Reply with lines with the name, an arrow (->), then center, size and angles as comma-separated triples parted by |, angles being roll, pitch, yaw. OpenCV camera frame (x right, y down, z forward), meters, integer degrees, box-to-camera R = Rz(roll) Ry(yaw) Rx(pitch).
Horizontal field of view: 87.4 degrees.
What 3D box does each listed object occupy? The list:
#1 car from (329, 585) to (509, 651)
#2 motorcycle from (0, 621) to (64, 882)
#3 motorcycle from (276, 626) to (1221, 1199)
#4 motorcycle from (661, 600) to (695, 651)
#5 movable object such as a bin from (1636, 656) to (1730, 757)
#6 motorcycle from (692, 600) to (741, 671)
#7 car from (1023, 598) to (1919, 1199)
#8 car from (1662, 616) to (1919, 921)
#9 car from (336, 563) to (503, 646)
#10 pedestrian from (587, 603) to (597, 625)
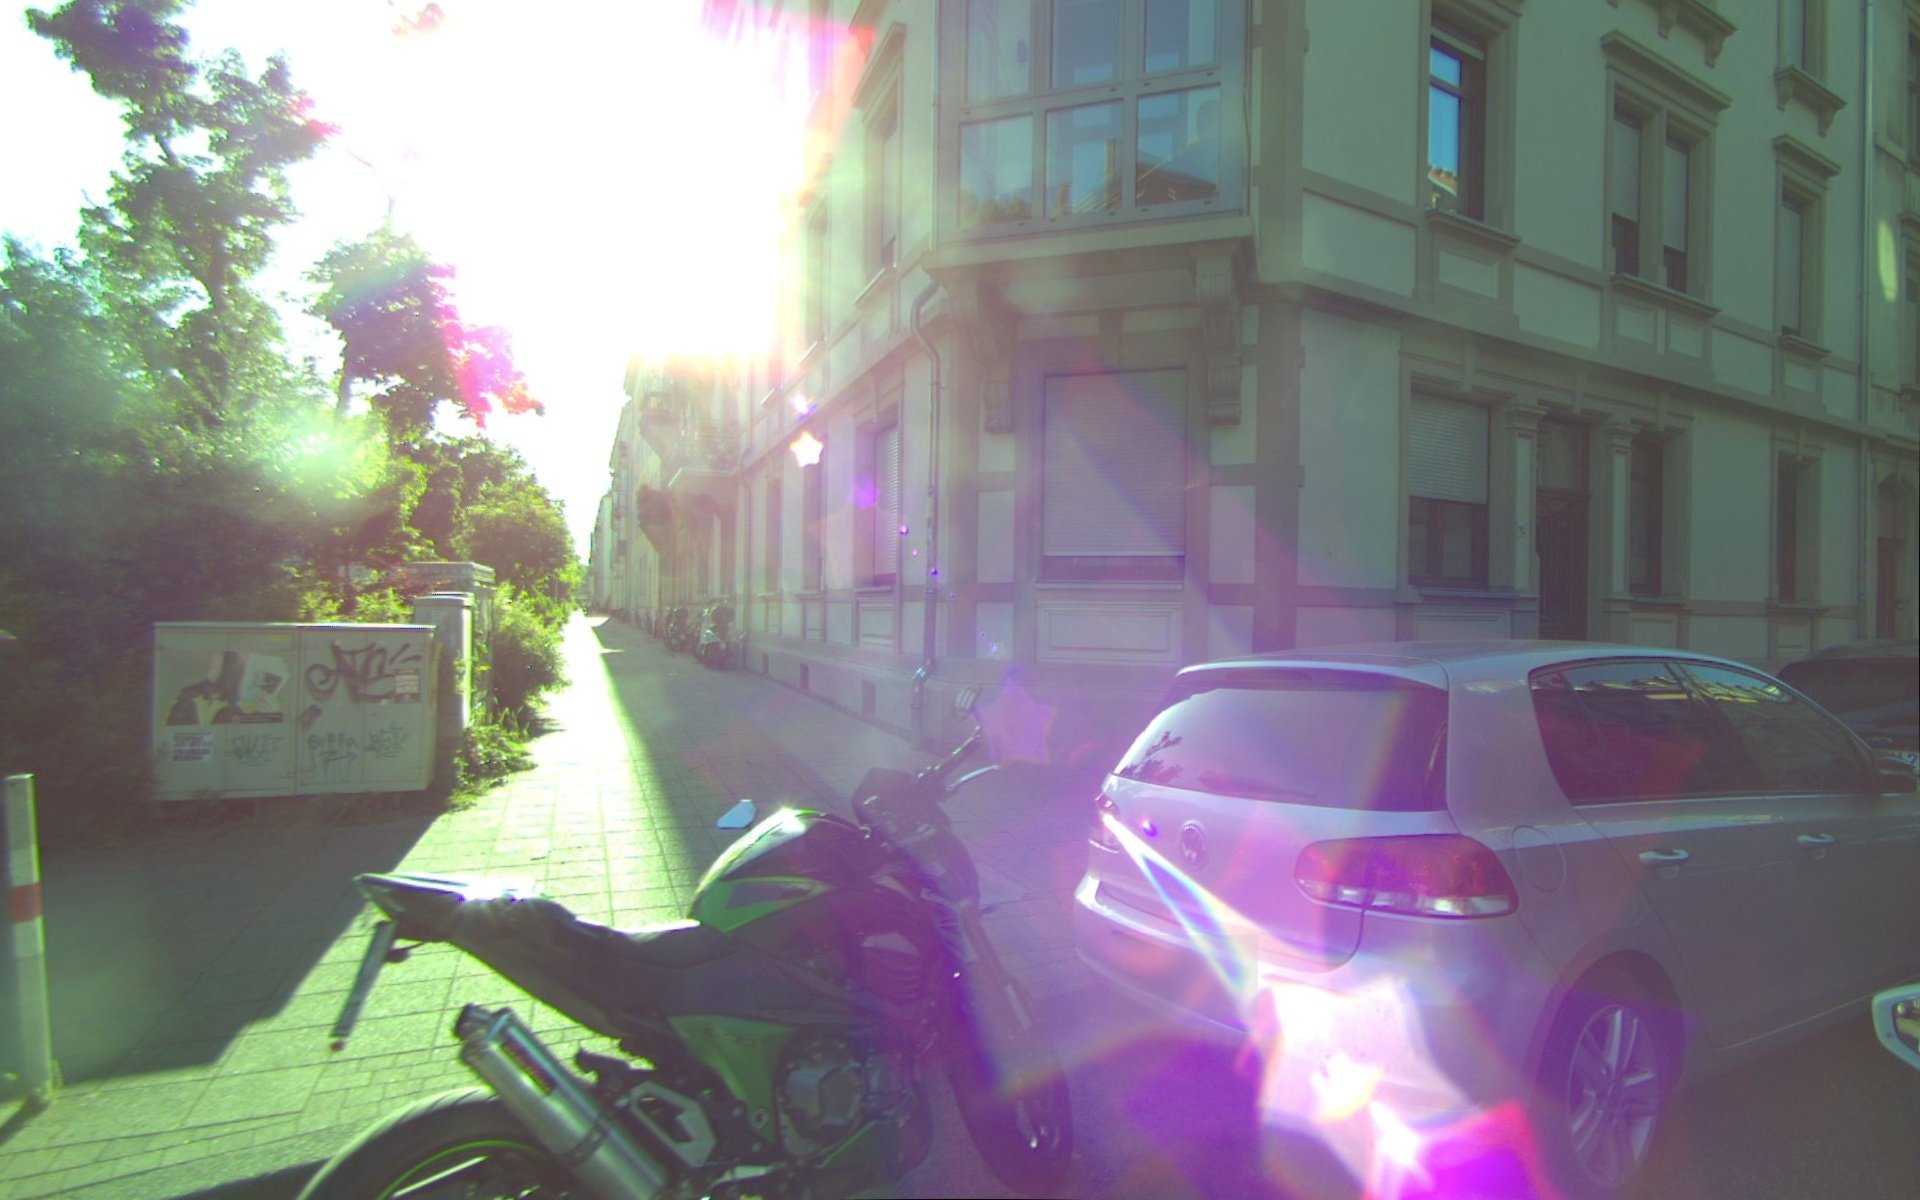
car -> -17.327, 0.599, 32.470 | 4.835, 2.040, 1.991 | 1, -1, -21
motorcycle -> -5.485, 0.687, 4.588 | 2.008, 1.212, 0.612 | 2, 0, -11
motorcycle -> -0.324, 0.743, 2.263 | 1.982, 1.351, 0.671 | 1, -3, -38
motorcycle -> -7.678, 0.677, 27.281 | 0.618, 1.324, 2.435 | 1, 0, -21
movable object such as a bin -> 7.558, 1.092, 10.506 | 0.505, 0.968, 0.618 | 1, 1, -31
motorcycle -> -4.835, 0.664, 19.842 | 0.618, 1.324, 2.435 | 1, 0, -21
car -> 2.357, 0.774, 3.910 | 3.883, 1.503, 1.774 | 1, 0, -29
car -> 6.265, 0.881, 6.216 | 3.698, 1.503, 1.772 | 1, 0, -30
car -> -18.586, 0.198, 34.836 | 4.840, 2.741, 2.124 | 1, -1, -23
pedestrian -> -34.420, 1.336, 94.030 | 0.868, 2.040, 1.225 | 1, 0, -20
